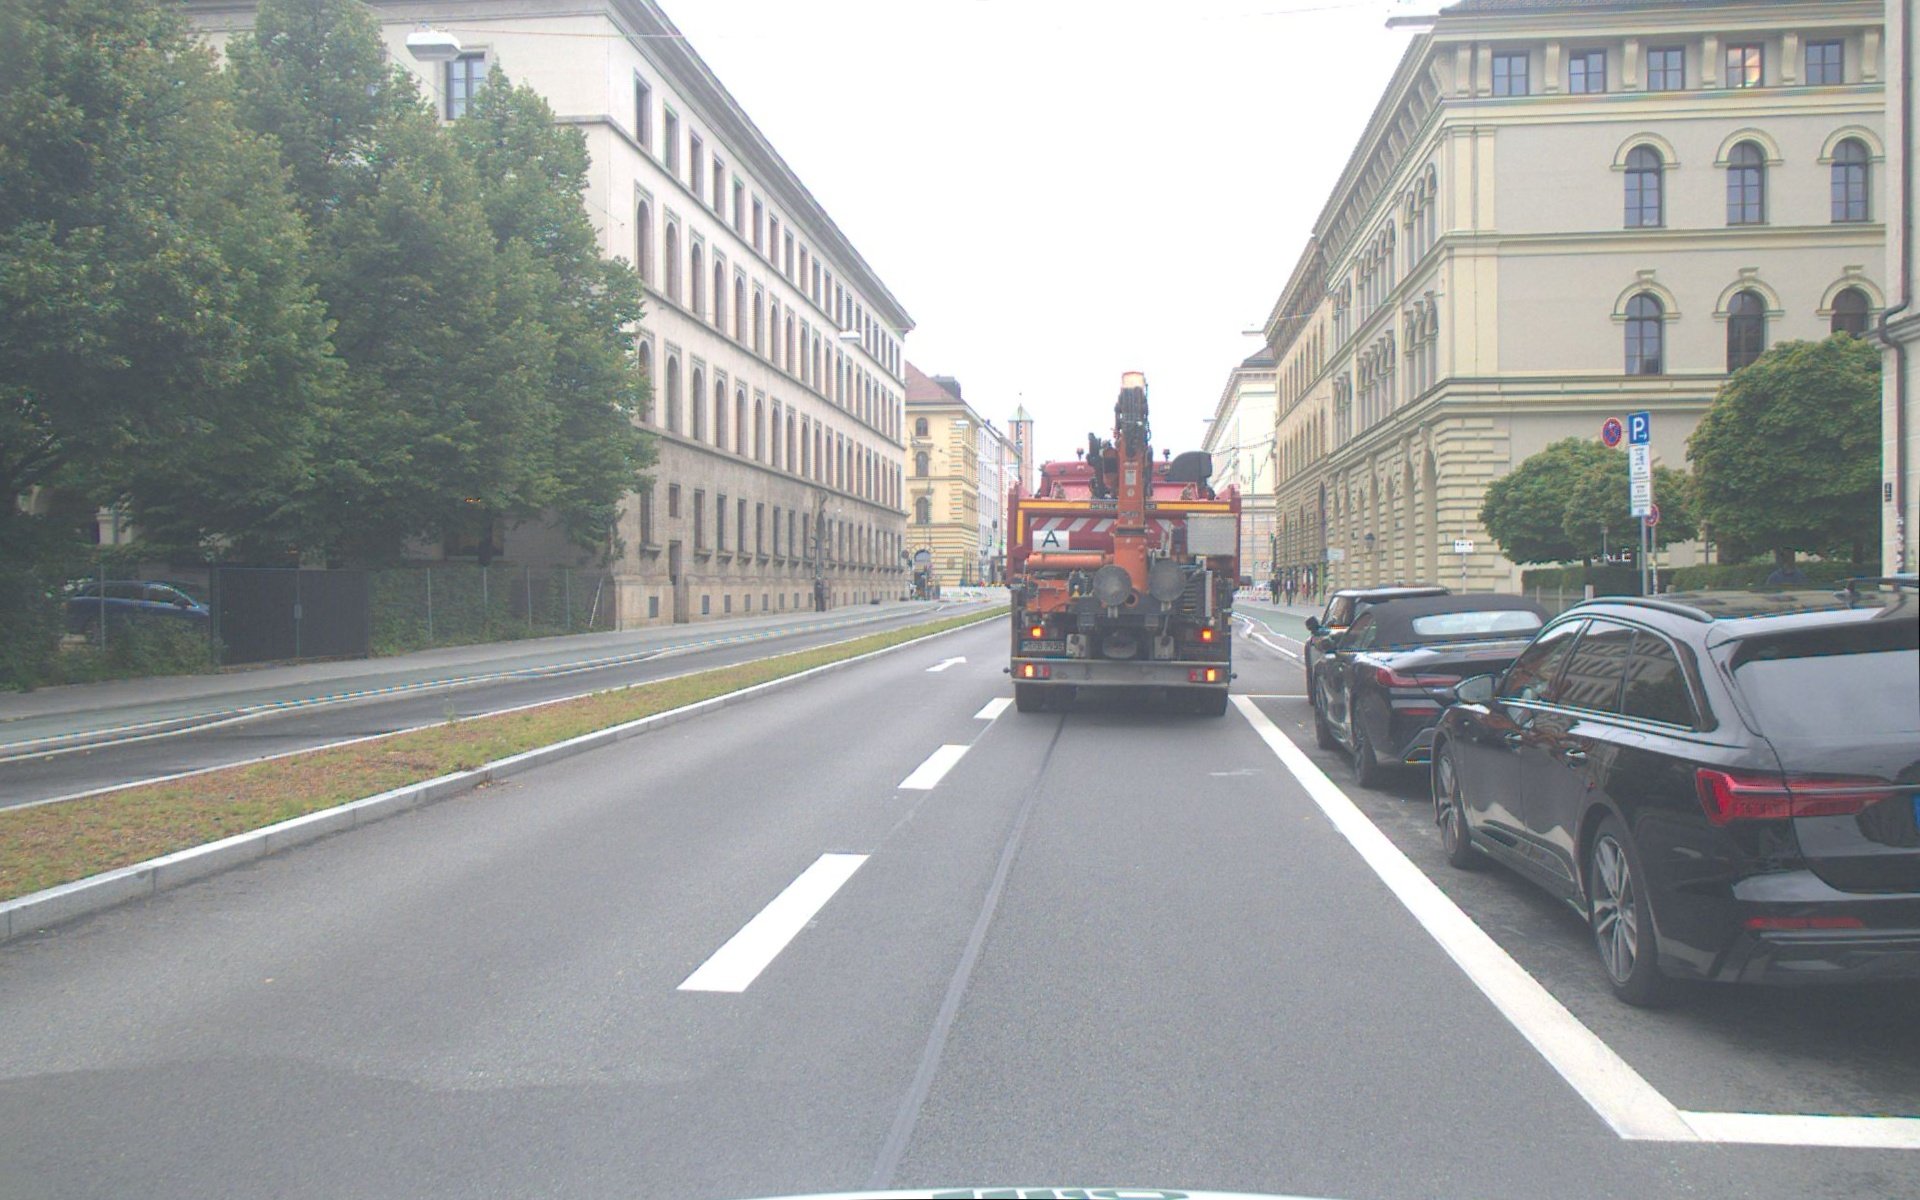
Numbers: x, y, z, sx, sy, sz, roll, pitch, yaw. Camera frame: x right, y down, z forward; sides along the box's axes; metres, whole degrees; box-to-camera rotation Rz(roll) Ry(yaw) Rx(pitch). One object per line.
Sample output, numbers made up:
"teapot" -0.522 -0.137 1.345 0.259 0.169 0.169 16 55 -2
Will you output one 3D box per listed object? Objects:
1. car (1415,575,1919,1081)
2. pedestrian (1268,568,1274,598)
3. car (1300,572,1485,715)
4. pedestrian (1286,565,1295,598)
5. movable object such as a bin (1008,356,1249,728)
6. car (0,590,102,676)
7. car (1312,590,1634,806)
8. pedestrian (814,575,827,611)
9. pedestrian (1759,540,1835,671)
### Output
"car" 3.352 0.652 7.265 1.764 1.505 4.690 -1 1 5
"pedestrian" 17.919 -0.969 95.286 0.330 1.701 0.440 -1 0 7
"car" 4.992 0.442 19.450 1.576 1.521 3.427 -1 1 6
"pedestrian" 19.044 -1.068 95.192 0.436 1.868 0.556 -1 0 7
"movable object such as a bin" 1.909 -0.615 19.365 2.372 3.674 5.855 0 1 5
"car" -18.942 0.600 31.913 3.845 1.572 1.837 0 1 4
"car" 3.963 0.651 13.501 1.644 1.410 4.430 1 1 6
"pedestrian" -7.156 -0.357 84.689 0.576 1.863 0.499 0 1 5
"pedestrian" 12.235 0.074 24.204 0.773 1.868 0.778 0 1 7
